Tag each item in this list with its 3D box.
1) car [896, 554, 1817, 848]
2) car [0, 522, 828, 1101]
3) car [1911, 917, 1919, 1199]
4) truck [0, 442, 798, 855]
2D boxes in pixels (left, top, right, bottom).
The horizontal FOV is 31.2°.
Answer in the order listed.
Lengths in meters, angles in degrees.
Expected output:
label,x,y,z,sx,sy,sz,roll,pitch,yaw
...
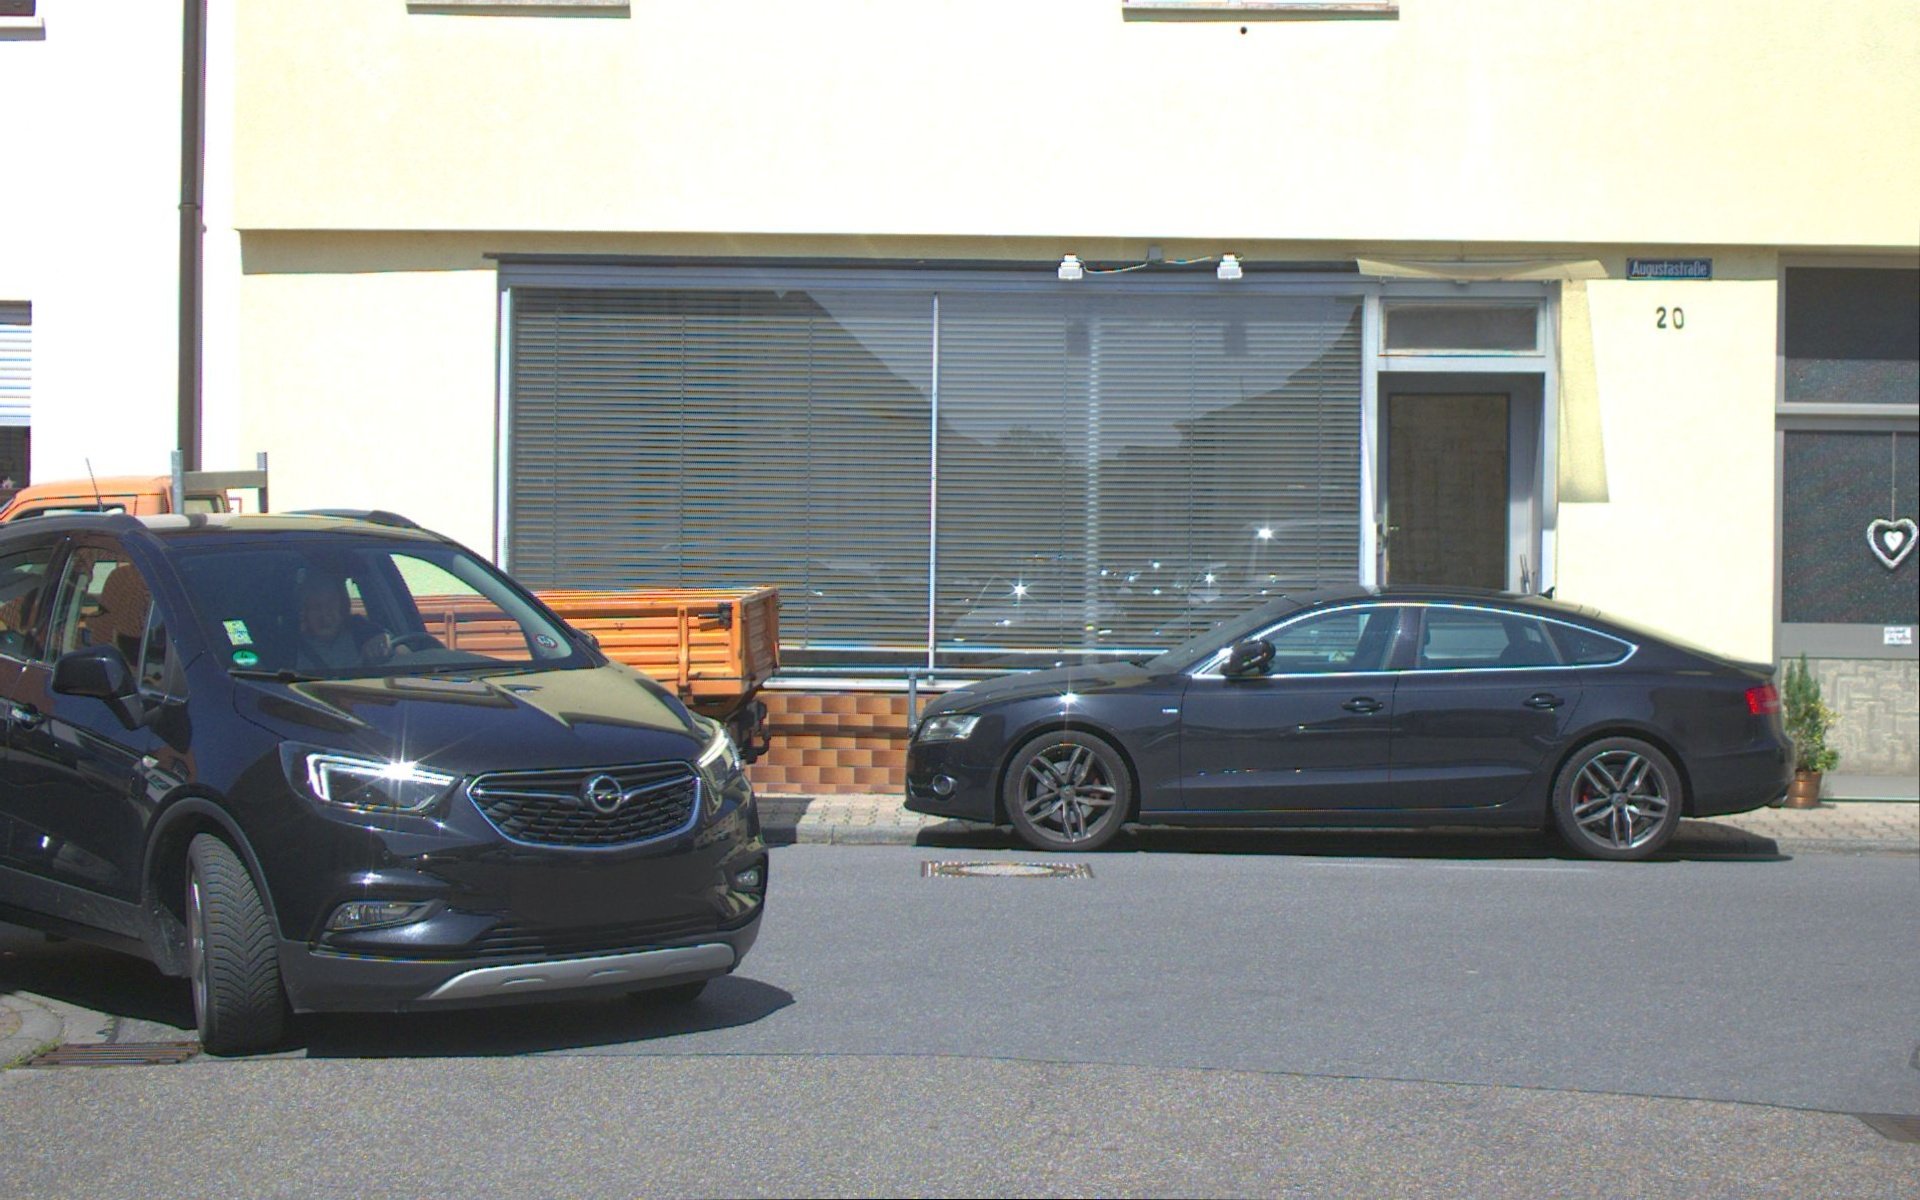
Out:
label,x,y,z,sx,sy,sz,roll,pitch,yaw
car,2.007,0.541,18.288,4.616,1.389,1.928,1,-2,1
car,-2.410,0.541,11.678,1.757,1.577,4.280,-2,2,-38
car,2.771,0.526,3.919,2.013,1.832,5.265,2,1,2
truck,-3.502,0.220,18.467,5.063,2.007,2.189,1,0,2
